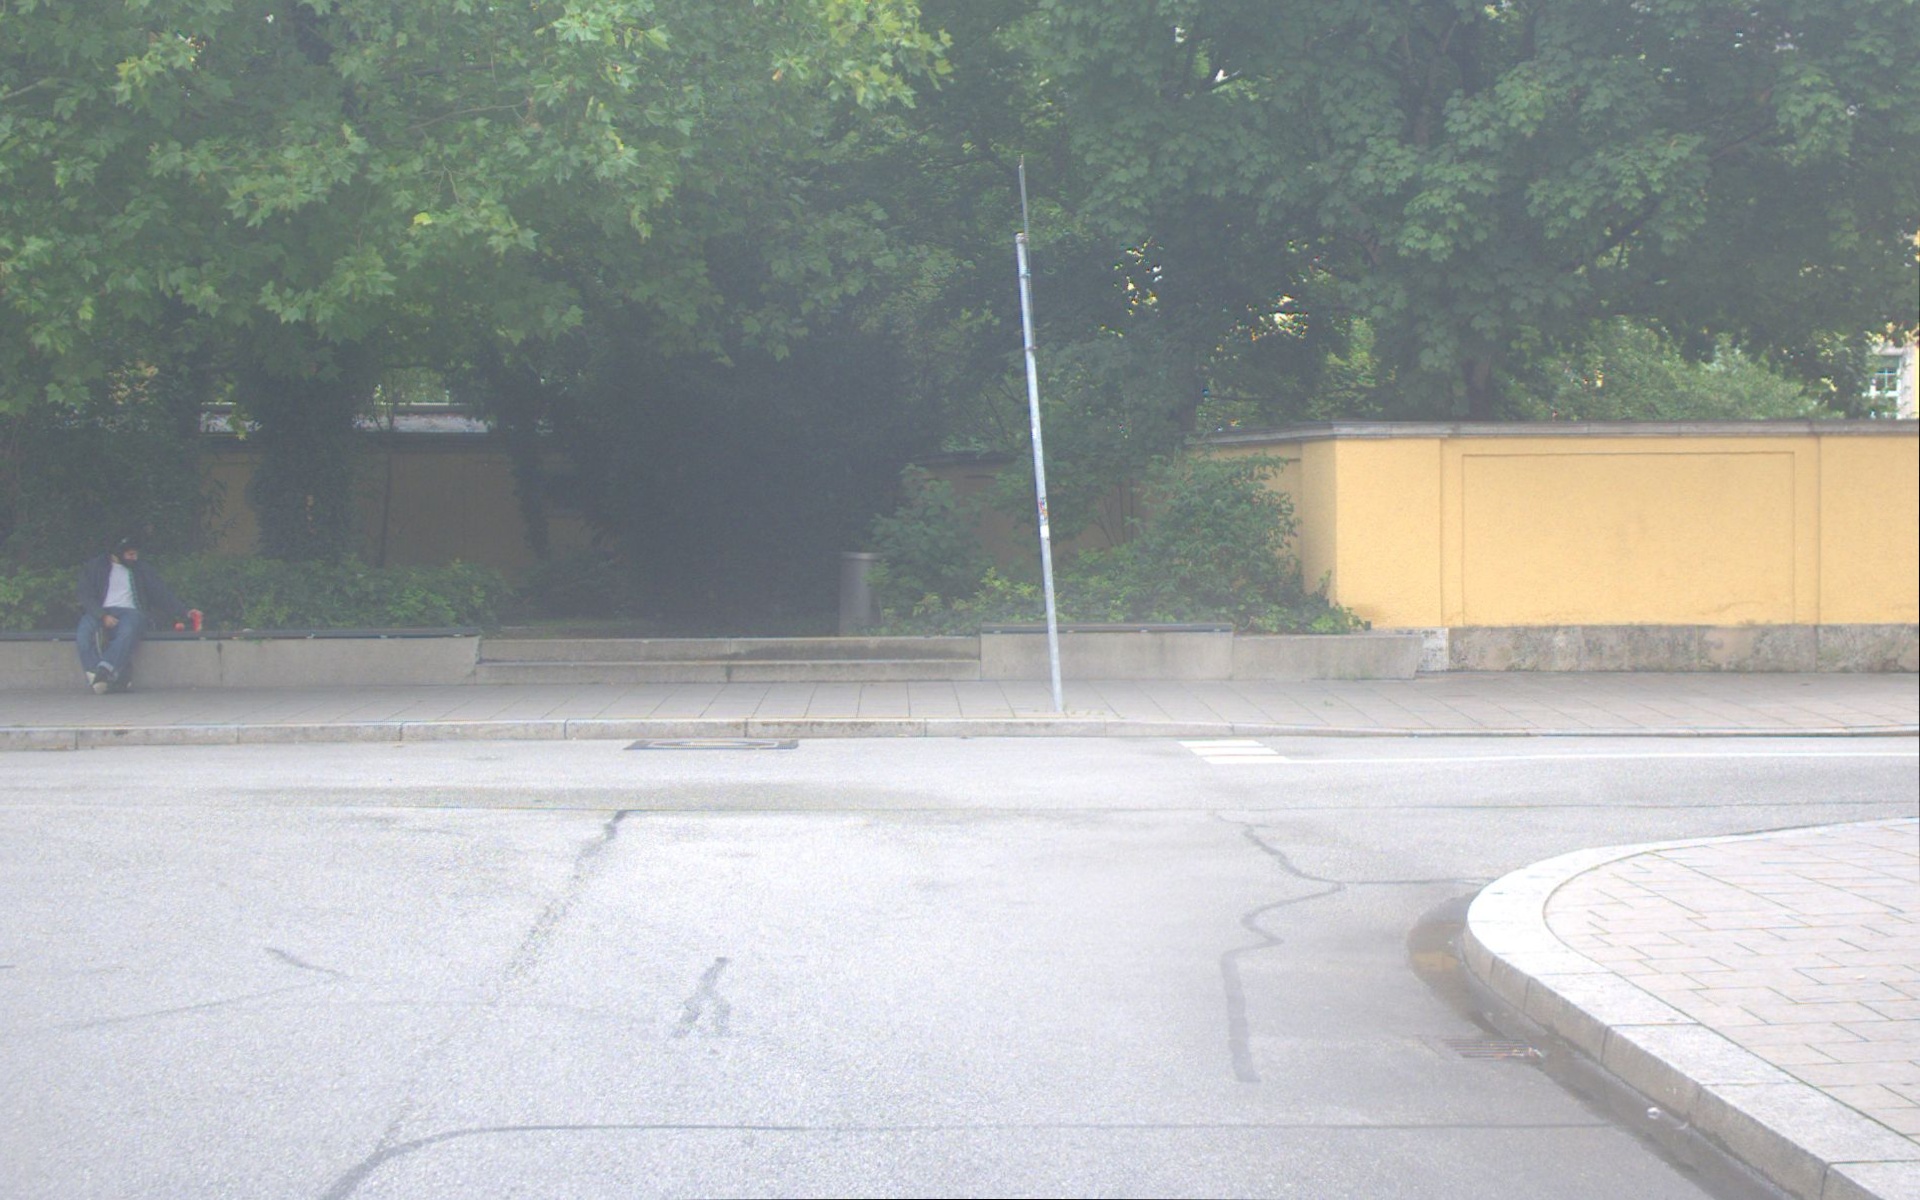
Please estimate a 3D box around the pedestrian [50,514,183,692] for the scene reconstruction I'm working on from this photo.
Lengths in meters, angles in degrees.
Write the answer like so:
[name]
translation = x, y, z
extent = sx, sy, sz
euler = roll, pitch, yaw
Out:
[pedestrian]
translation = -6.582, 0.008, 26.874
extent = 0.769, 1.352, 1.131
euler = -1, 1, -2
